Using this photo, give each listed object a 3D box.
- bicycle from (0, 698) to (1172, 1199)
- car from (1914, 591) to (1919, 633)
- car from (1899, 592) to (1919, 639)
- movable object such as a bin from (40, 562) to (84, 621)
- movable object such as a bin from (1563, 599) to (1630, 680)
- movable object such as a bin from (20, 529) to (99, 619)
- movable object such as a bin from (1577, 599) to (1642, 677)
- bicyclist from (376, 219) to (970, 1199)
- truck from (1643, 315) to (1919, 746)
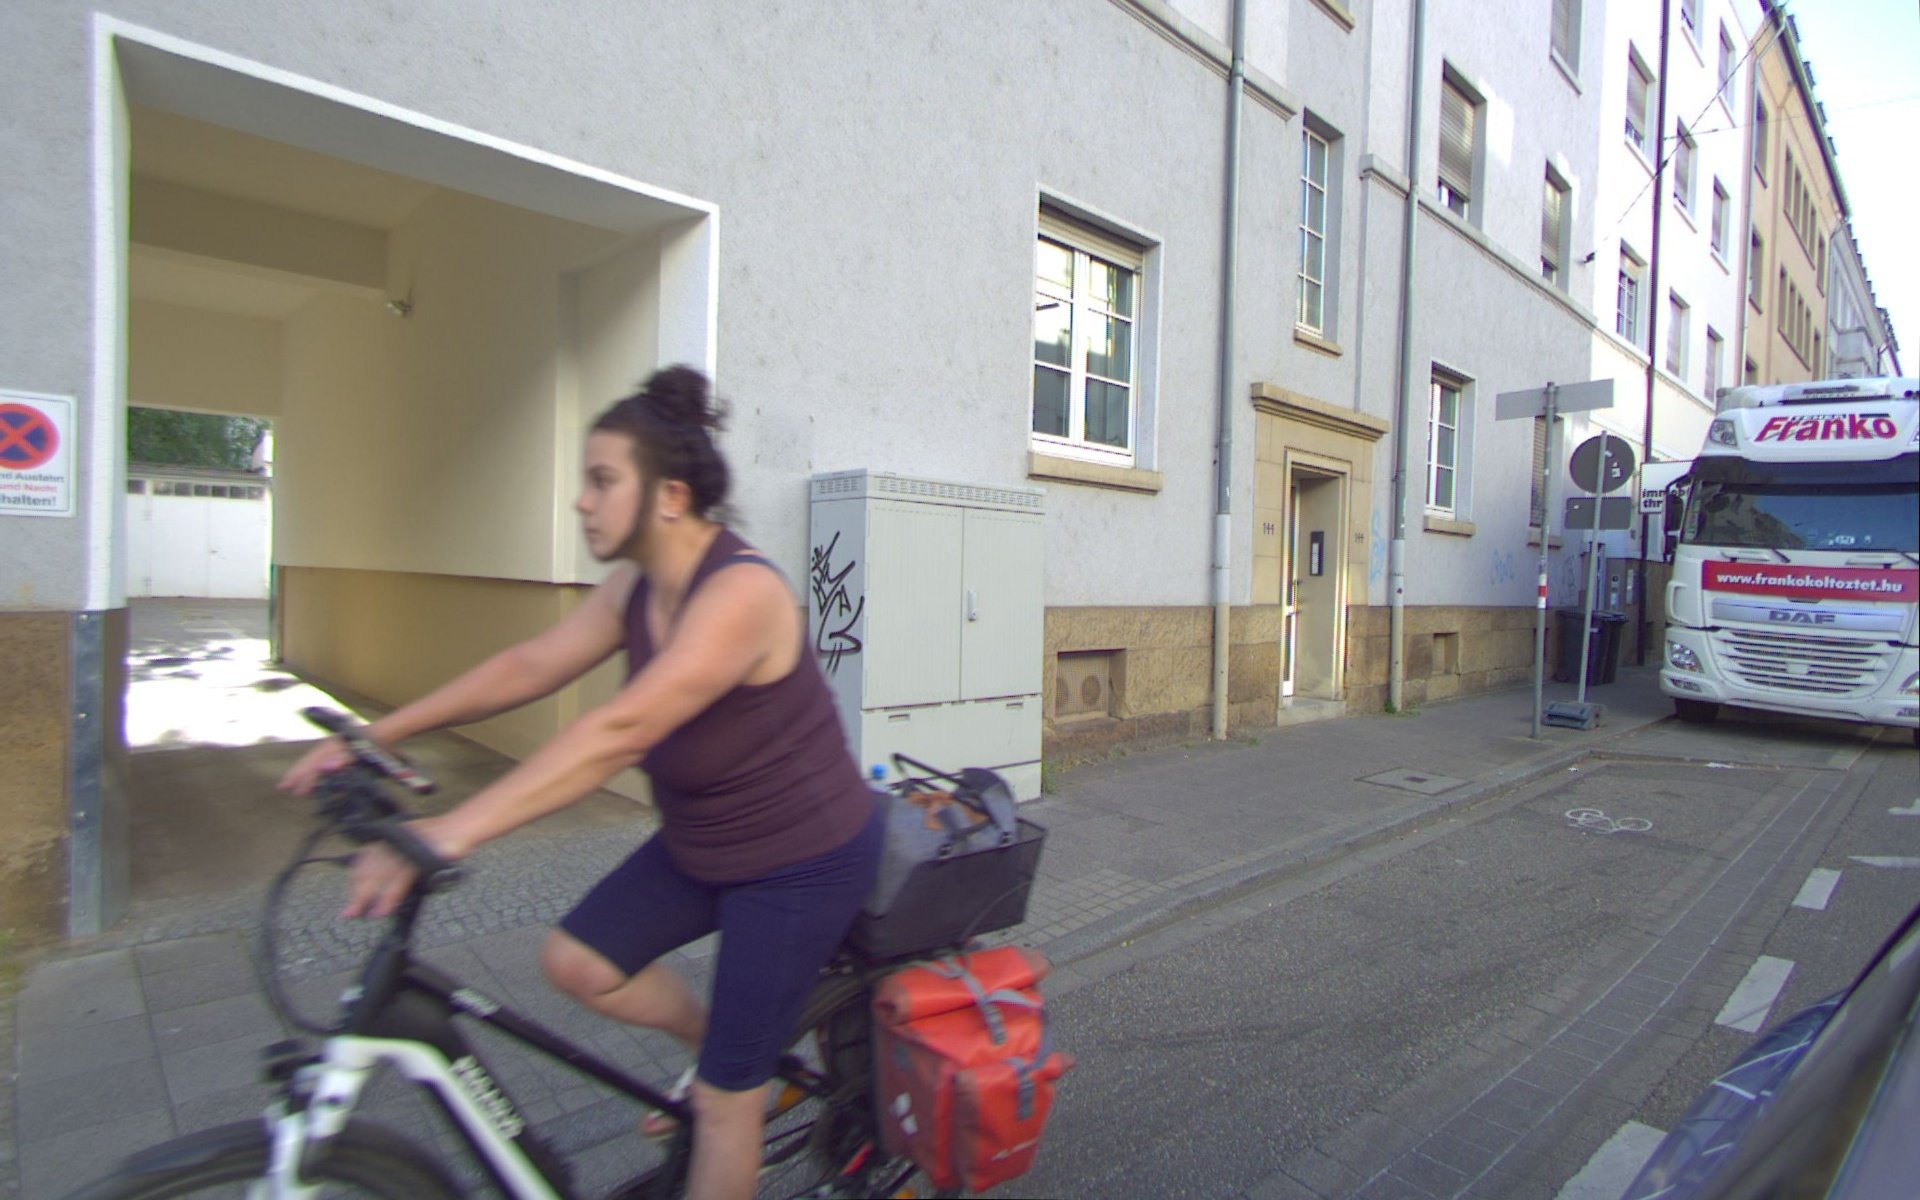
[{"bbox_3d":[-0.511,0.809,1.677,1.852,1.117,0.618,0,2,-38],"label":"bicycle"},{"bbox_3d":[37.675,0.465,38.634,4.080,1.551,1.681,0,0,-44],"label":"car"},{"bbox_3d":[33.505,0.533,34.737,4.080,1.551,1.681,0,0,-44],"label":"car"},{"bbox_3d":[-14.376,-0.141,16.201,0.518,0.922,0.580,0,2,-43],"label":"movable object such as a bin"},{"bbox_3d":[9.172,0.555,14.591,0.560,1.107,0.665,0,2,-43],"label":"movable object such as a bin"},{"bbox_3d":[-15.152,-0.447,17.020,0.946,1.426,1.597,0,2,-43],"label":"movable object such as a bin"},{"bbox_3d":[9.651,0.546,15.042,0.560,1.107,0.665,0,2,-43],"label":"movable object such as a bin"},{"bbox_3d":[-0.485,0.367,1.676,0.746,1.650,0.618,1,1,-38],"label":"bicyclist"},{"bbox_3d":[12.576,-0.676,13.884,11.621,3.975,2.778,0,2,-44],"label":"truck"}]
